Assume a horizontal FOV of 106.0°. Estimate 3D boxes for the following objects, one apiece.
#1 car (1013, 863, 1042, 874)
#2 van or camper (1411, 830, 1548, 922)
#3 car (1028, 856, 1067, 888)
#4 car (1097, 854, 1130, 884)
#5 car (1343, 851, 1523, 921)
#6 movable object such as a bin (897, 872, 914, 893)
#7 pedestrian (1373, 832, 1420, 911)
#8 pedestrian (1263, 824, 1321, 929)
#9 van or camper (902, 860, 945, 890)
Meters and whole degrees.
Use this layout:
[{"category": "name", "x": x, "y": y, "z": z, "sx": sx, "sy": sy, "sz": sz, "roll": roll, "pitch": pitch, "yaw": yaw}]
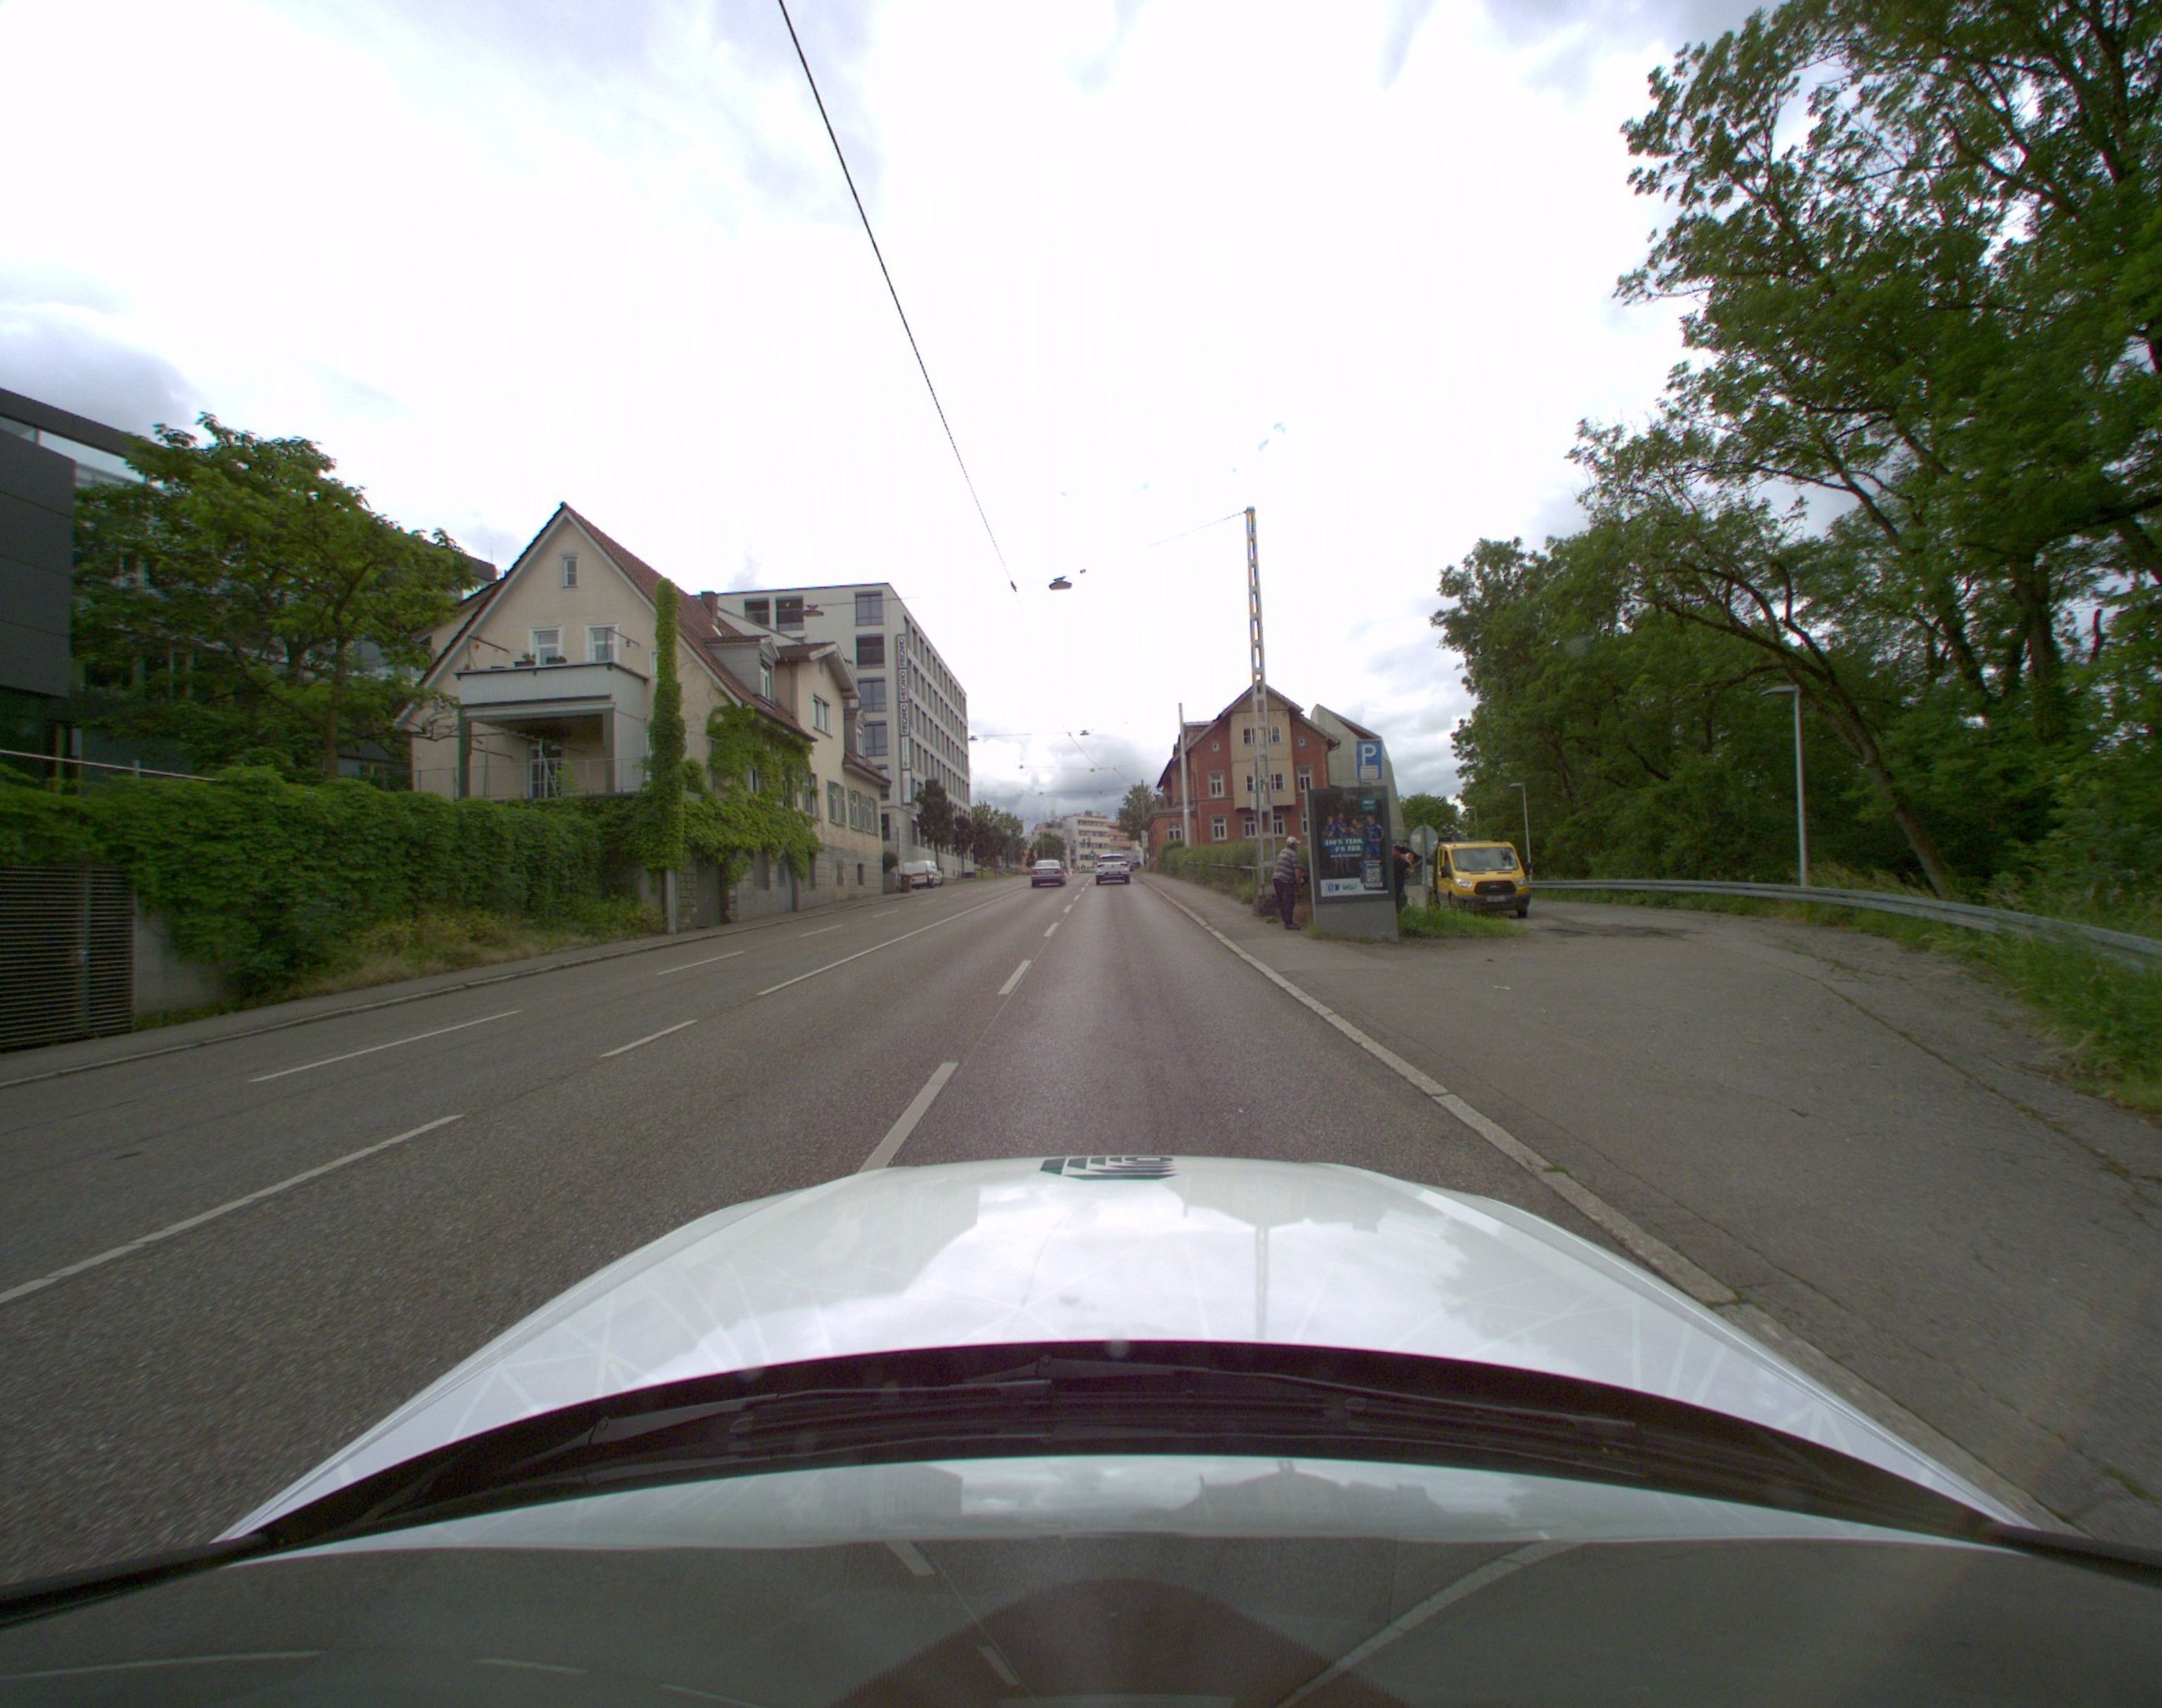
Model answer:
[{"category": "car", "x": -7.908, "y": 2.158, "z": 119.884, "sx": 4.023, "sy": 1.544, "sz": 1.759, "roll": -1, "pitch": -2, "yaw": -44}, {"category": "van or camper", "x": 11.896, "y": 0.566, "z": 24.873, "sx": 2.201, "sy": 2.329, "sz": 6.200, "roll": -4, "pitch": 0, "yaw": 12}, {"category": "car", "x": -1.735, "y": 0.916, "z": 42.787, "sx": 1.693, "sy": 1.516, "sz": 3.737, "roll": -3, "pitch": 0, "yaw": 2}, {"category": "car", "x": 1.727, "y": 0.759, "z": 43.214, "sx": 1.693, "sy": 1.548, "sz": 3.737, "roll": 0, "pitch": 0, "yaw": 2}, {"category": "car", "x": 7.981, "y": 0.705, "z": 18.687, "sx": 3.473, "sy": 1.541, "sz": 1.579, "roll": 0, "pitch": 0, "yaw": 3}, {"category": "movable object such as a bin", "x": -9.787, "y": 1.588, "z": 45.542, "sx": 0.808, "sy": 1.189, "sz": 0.697, "roll": 1, "pitch": -1, "yaw": -4}, {"category": "pedestrian", "x": 6.550, "y": 0.356, "z": 16.936, "sx": 0.643, "sy": 1.571, "sz": 0.586, "roll": -4, "pitch": 0, "yaw": 2}, {"category": "pedestrian", "x": 3.986, "y": 0.419, "z": 15.470, "sx": 0.808, "sy": 1.884, "sz": 0.950, "roll": -4, "pitch": 0, "yaw": 6}, {"category": "van or camper", "x": -11.285, "y": 1.459, "z": 58.720, "sx": 2.054, "sy": 1.968, "sz": 4.871, "roll": -3, "pitch": 0, "yaw": -1}]
